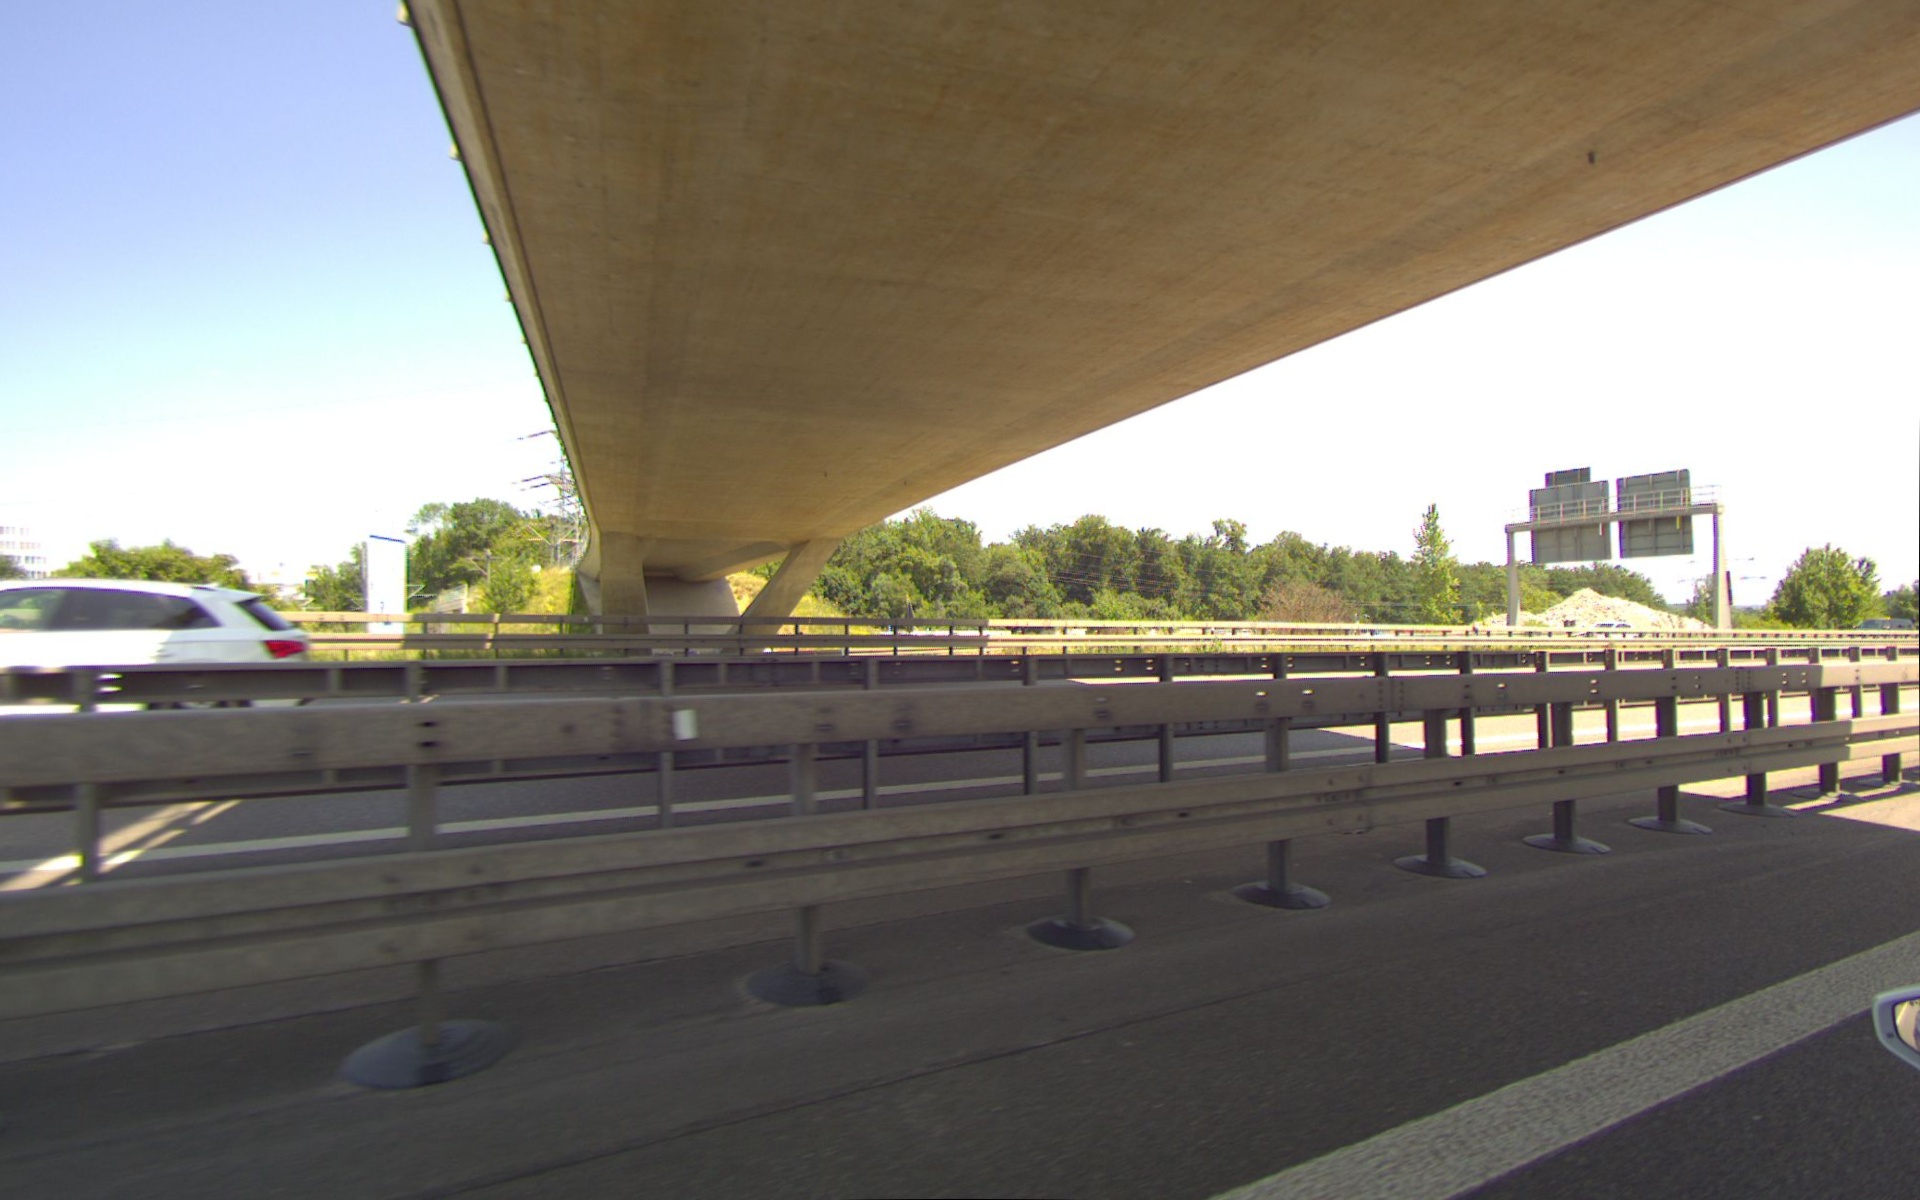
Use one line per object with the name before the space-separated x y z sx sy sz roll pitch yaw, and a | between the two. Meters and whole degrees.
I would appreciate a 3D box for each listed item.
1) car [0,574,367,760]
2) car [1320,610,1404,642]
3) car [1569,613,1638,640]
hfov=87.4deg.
car | -8.798 0.604 9.983 4.917 1.661 1.919 1 0 -30
car | 21.724 1.410 54.224 4.269 1.639 1.985 1 0 -29
car | 40.334 1.668 62.932 3.951 1.639 1.985 1 0 -29
